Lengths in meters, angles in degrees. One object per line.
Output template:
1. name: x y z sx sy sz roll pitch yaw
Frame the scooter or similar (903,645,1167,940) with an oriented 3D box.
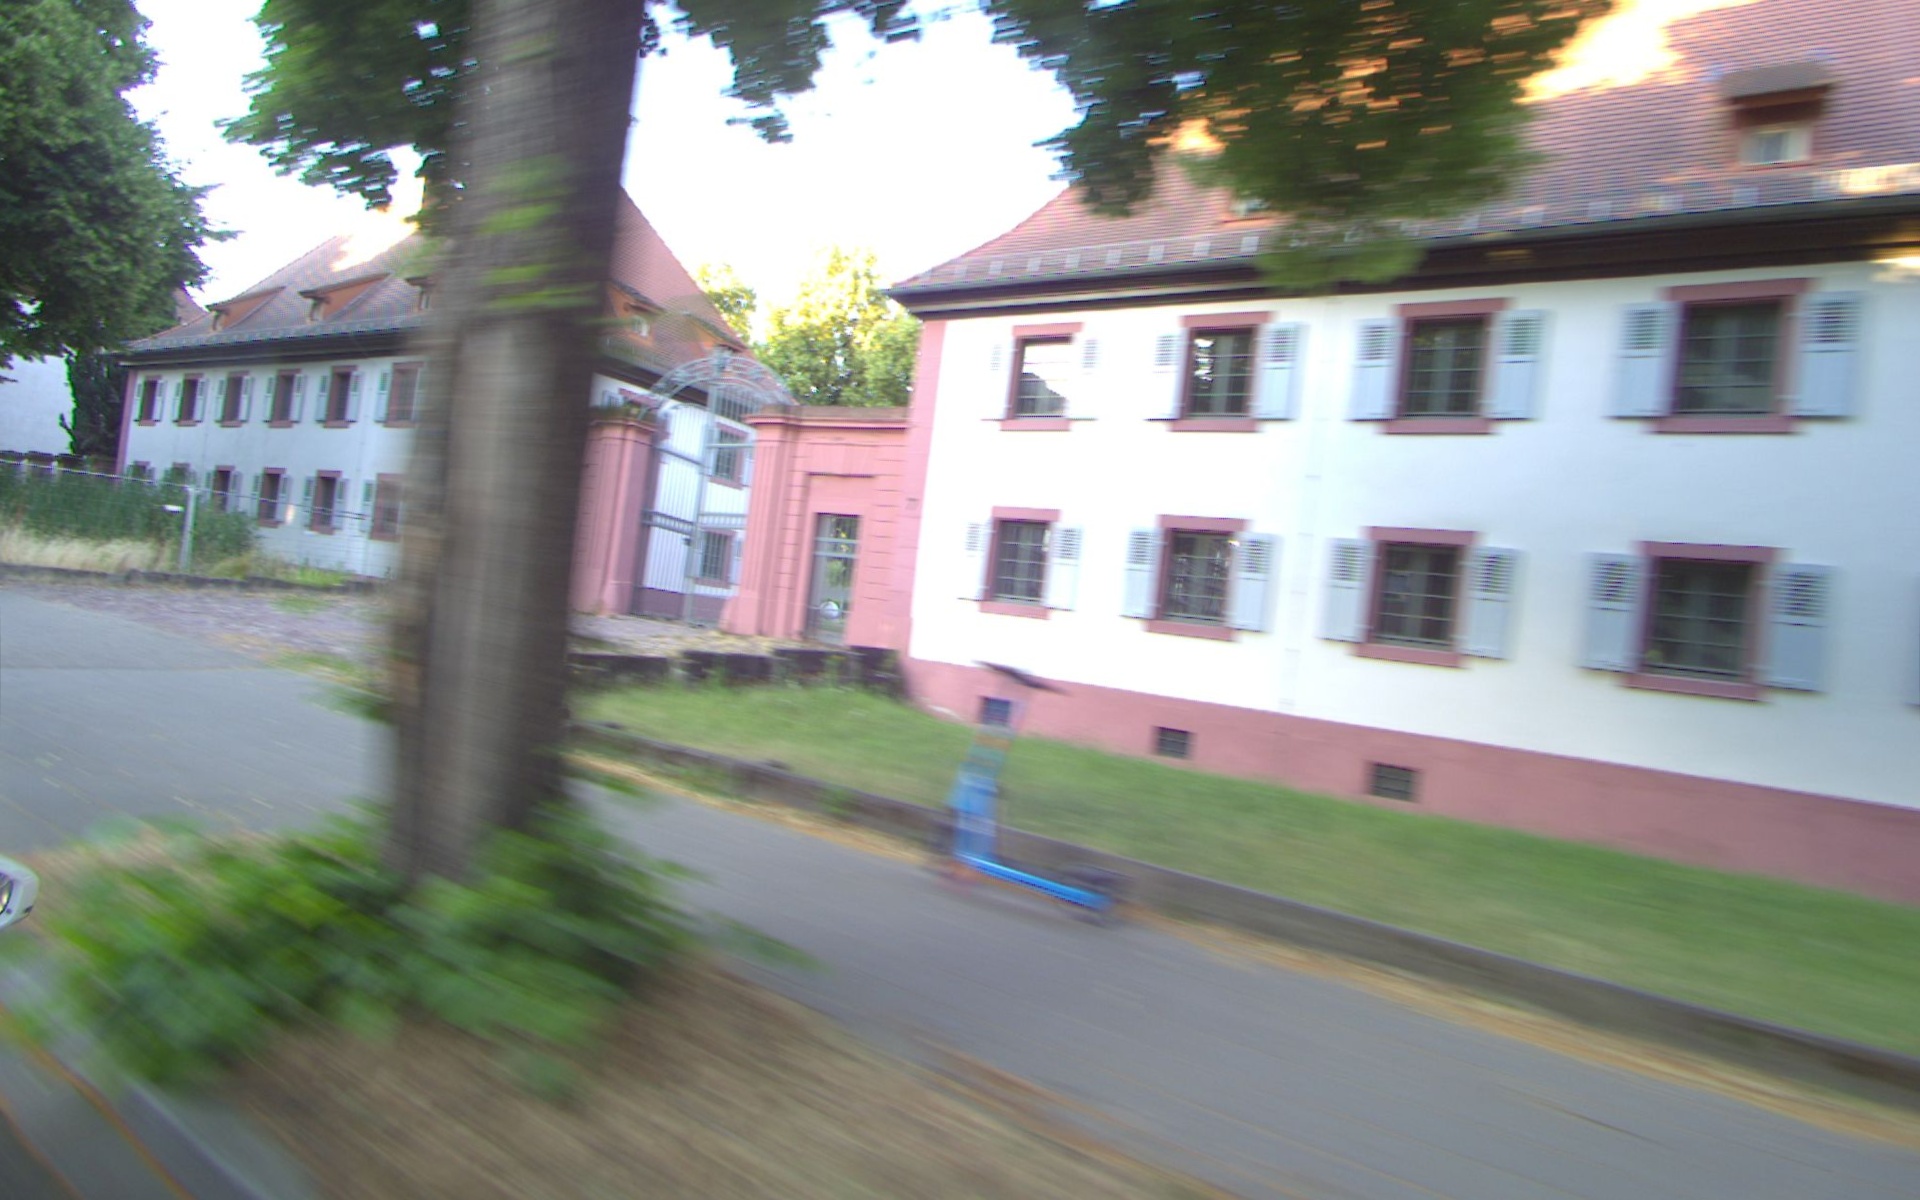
1. scooter or similar: 0.369 0.949 5.243 1.245 1.291 0.240 6 0 27
